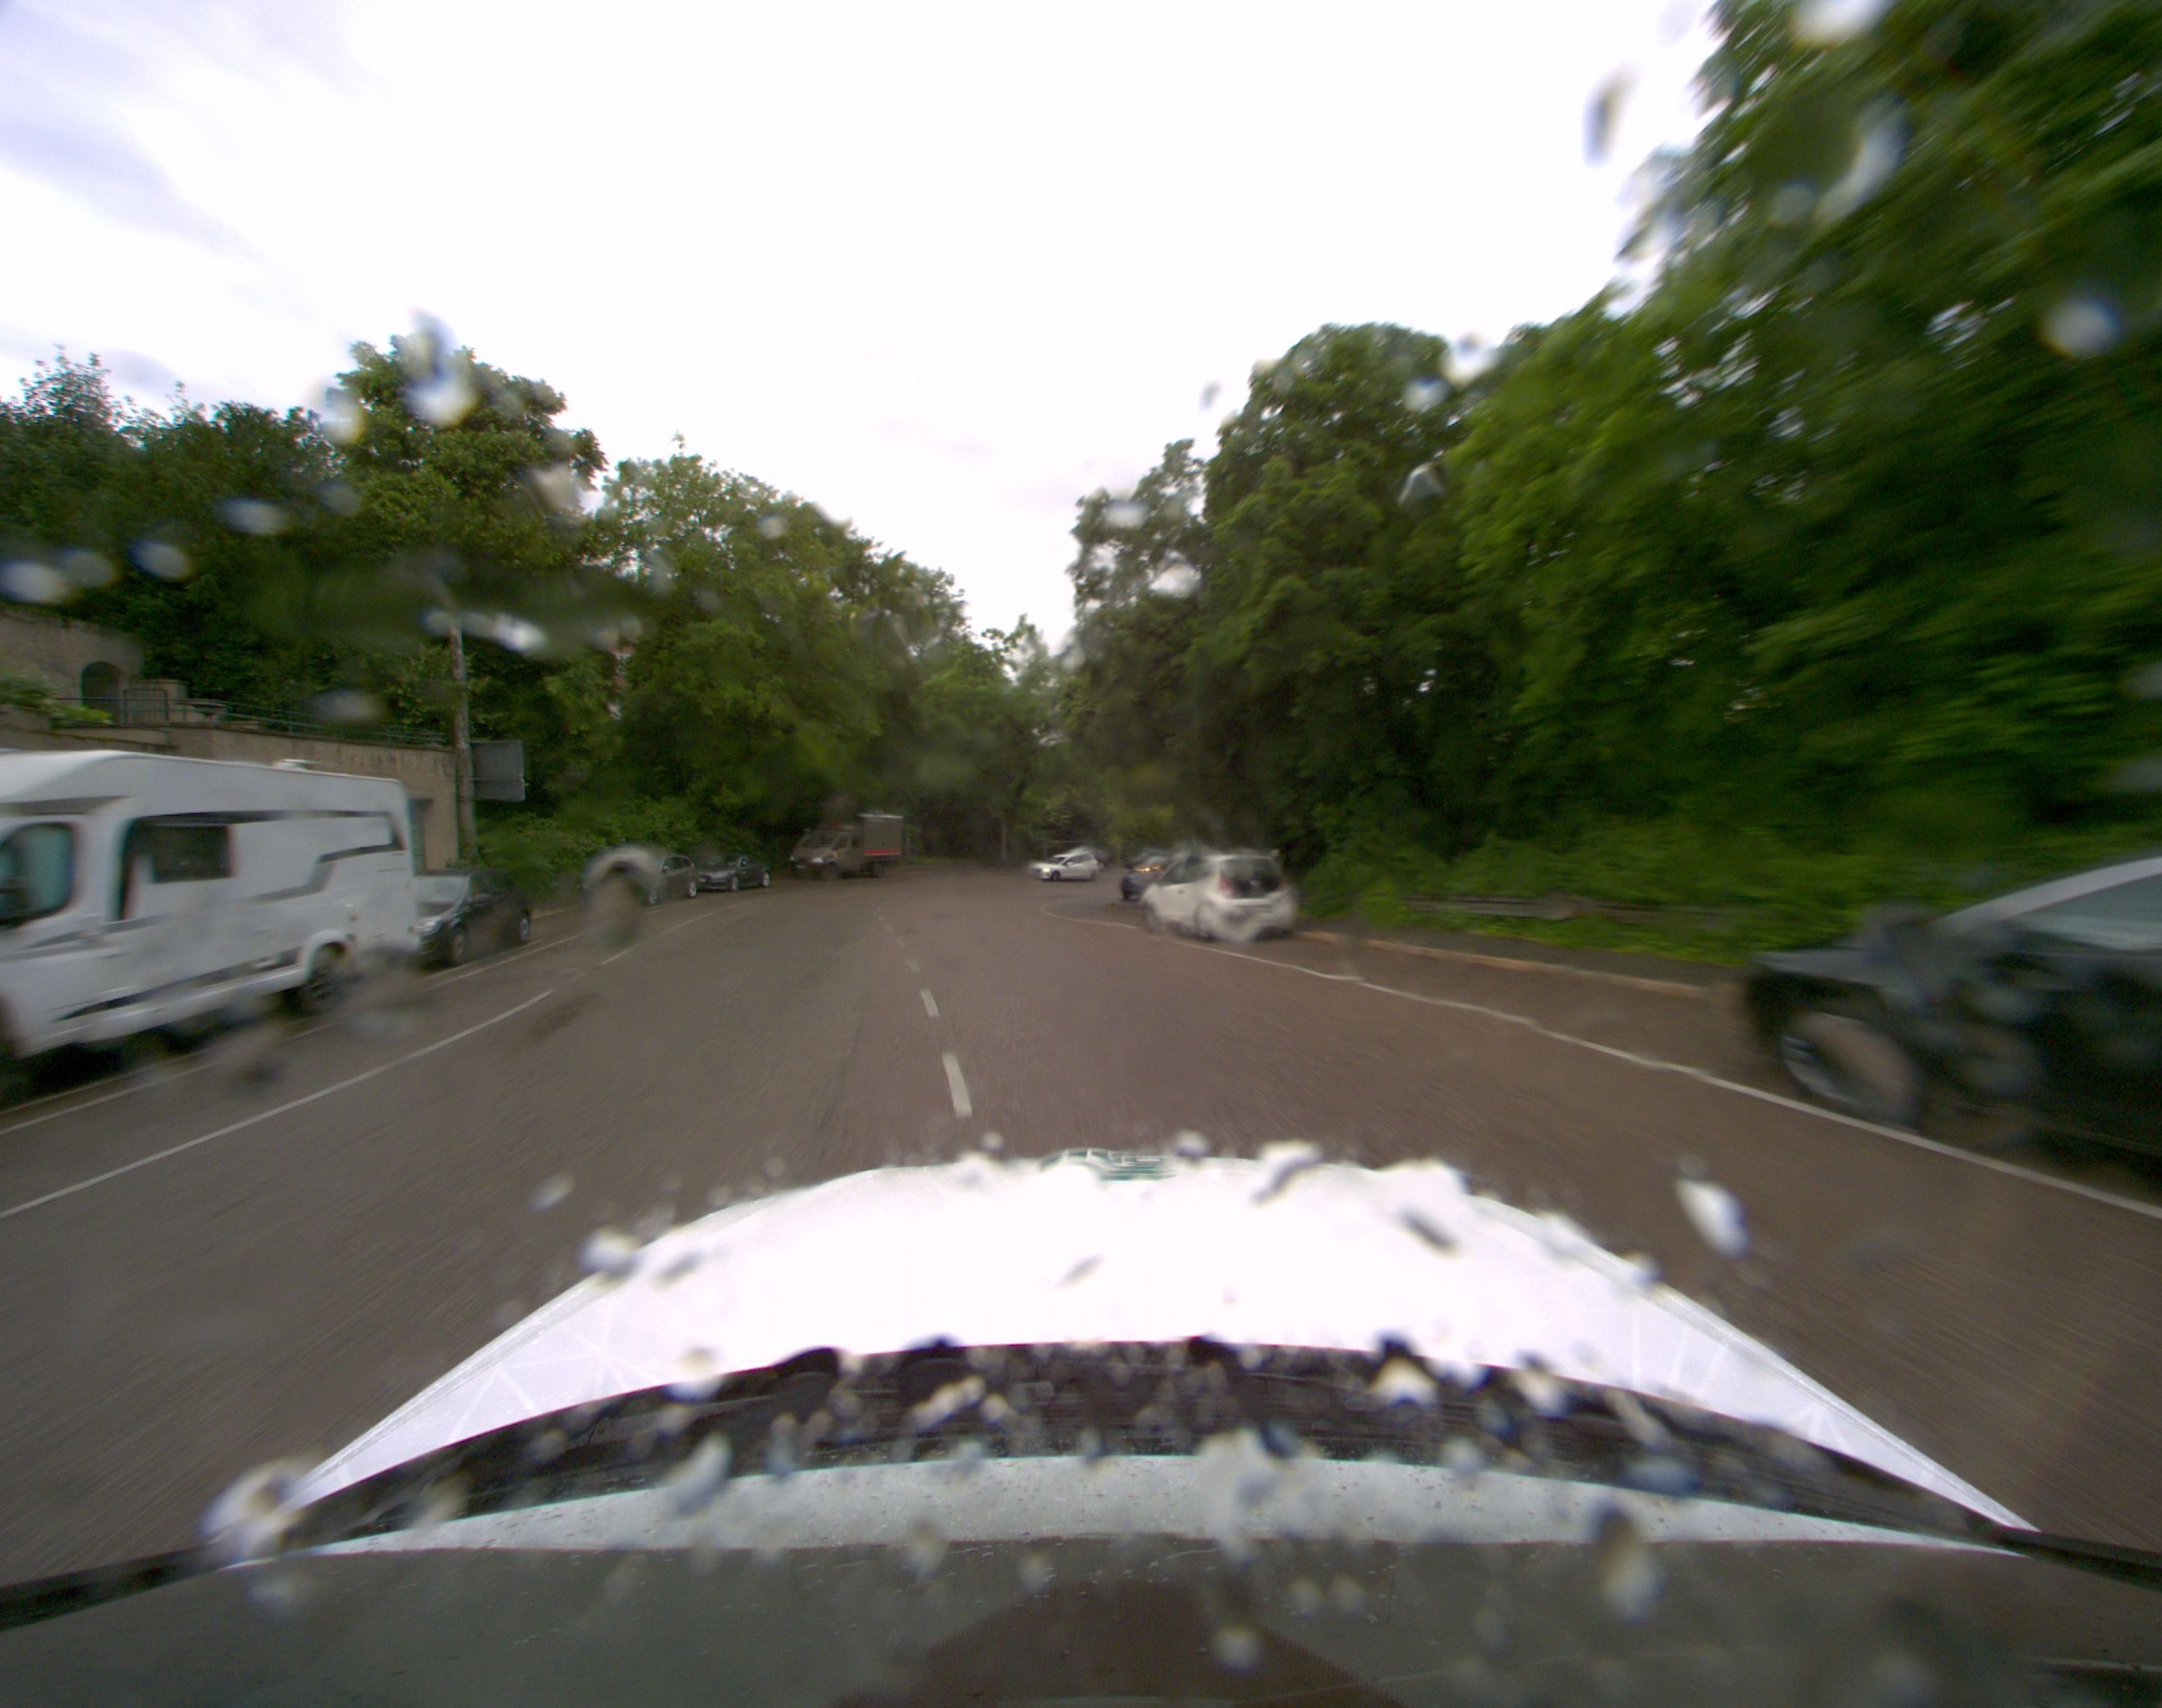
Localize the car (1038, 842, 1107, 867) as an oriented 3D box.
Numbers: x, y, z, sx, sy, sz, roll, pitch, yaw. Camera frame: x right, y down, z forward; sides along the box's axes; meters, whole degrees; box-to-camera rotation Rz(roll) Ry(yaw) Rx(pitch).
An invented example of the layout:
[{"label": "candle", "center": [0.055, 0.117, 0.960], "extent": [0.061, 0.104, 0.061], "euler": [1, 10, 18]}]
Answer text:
[{"label": "car", "center": [-0.571, -0.009, 54.055], "extent": [4.333, 1.464, 1.765], "euler": [0, 5, -37]}]

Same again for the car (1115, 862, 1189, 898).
[{"label": "car", "center": [3.448, 1.206, 38.850], "extent": [1.634, 1.464, 4.058], "euler": [6, 3, 34]}]

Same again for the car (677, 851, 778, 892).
[{"label": "car", "center": [-13.038, 0.592, 30.330], "extent": [1.692, 1.275, 4.251], "euler": [1, 2, 3]}]

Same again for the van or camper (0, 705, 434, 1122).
[{"label": "van or camper", "center": [-8.980, 0.407, 7.484], "extent": [2.161, 2.788, 7.010], "euler": [-3, 2, -17]}]

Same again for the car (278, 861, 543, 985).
[{"label": "car", "center": [-10.785, 0.976, 13.570], "extent": [1.791, 1.498, 4.347], "euler": [-2, 2, -17]}]

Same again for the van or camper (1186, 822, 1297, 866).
[{"label": "van or camper", "center": [11.783, -0.716, 59.853], "extent": [7.643, 2.930, 2.193], "euler": [1, 5, -13]}]

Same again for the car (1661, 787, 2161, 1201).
[{"label": "car", "center": [4.788, 0.475, 2.966], "extent": [1.716, 1.513, 4.585], "euler": [-3, 1, -6]}]

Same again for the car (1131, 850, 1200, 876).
[{"label": "car", "center": [5.393, 0.574, 51.644], "extent": [4.099, 1.518, 1.749], "euler": [1, 2, -31]}]

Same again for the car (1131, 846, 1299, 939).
[{"label": "car", "center": [2.349, 0.648, 15.211], "extent": [1.589, 1.502, 3.644], "euler": [0, -1, -18]}]

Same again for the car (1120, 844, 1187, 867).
[{"label": "car", "center": [5.136, 0.080, 57.543], "extent": [4.316, 1.355, 1.747], "euler": [1, 5, -22]}]

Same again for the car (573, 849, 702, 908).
[{"label": "car", "center": [-13.173, 0.671, 24.532], "extent": [1.696, 1.498, 4.523], "euler": [0, 2, -4]}]

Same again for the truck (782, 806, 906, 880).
[{"label": "truck", "center": [-11.054, -0.530, 38.740], "extent": [2.017, 3.102, 6.647], "euler": [3, 2, 20]}]

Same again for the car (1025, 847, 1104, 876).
[{"label": "car", "center": [-0.914, 0.429, 46.591], "extent": [1.782, 1.570, 4.481], "euler": [2, 1, 45]}]
